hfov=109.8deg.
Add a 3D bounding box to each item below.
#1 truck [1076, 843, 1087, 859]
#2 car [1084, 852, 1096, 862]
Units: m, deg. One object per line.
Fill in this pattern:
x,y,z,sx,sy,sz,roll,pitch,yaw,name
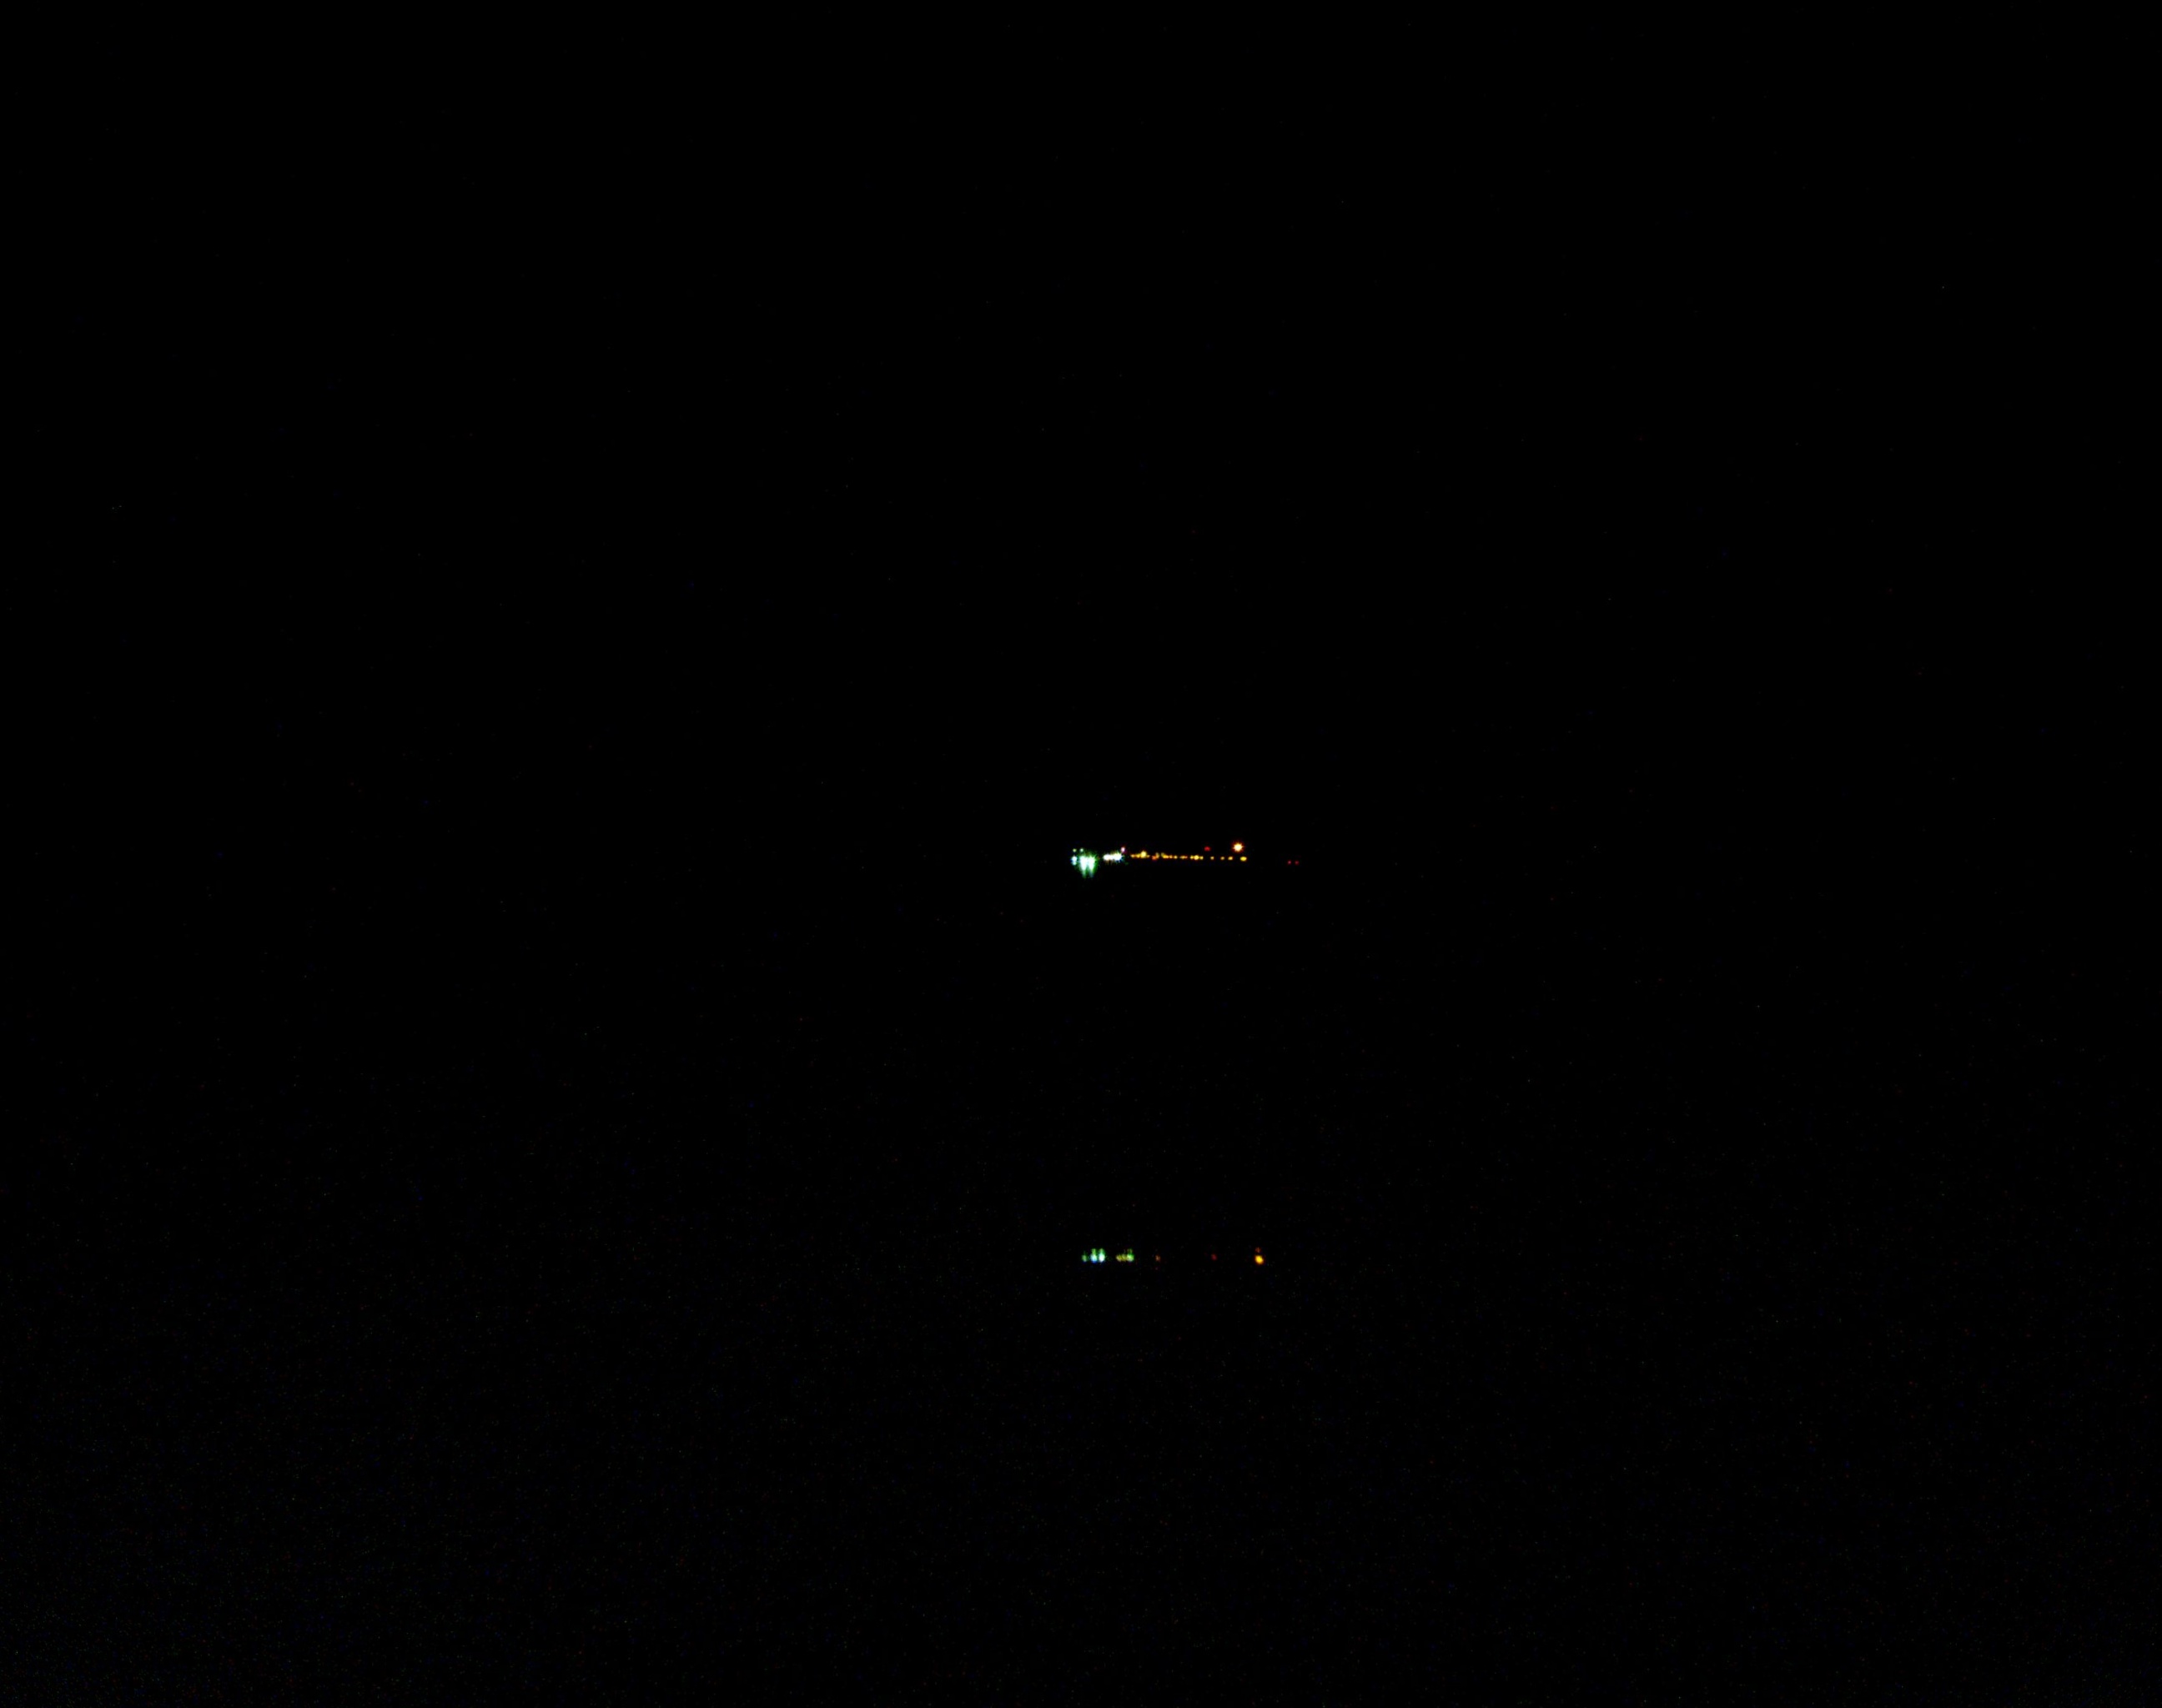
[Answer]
0.054,-0.845,206.442,2.749,4.182,13.508,-2,0,0,truck
1.709,0.615,149.633,2.267,1.842,5.402,-2,0,-1,car
